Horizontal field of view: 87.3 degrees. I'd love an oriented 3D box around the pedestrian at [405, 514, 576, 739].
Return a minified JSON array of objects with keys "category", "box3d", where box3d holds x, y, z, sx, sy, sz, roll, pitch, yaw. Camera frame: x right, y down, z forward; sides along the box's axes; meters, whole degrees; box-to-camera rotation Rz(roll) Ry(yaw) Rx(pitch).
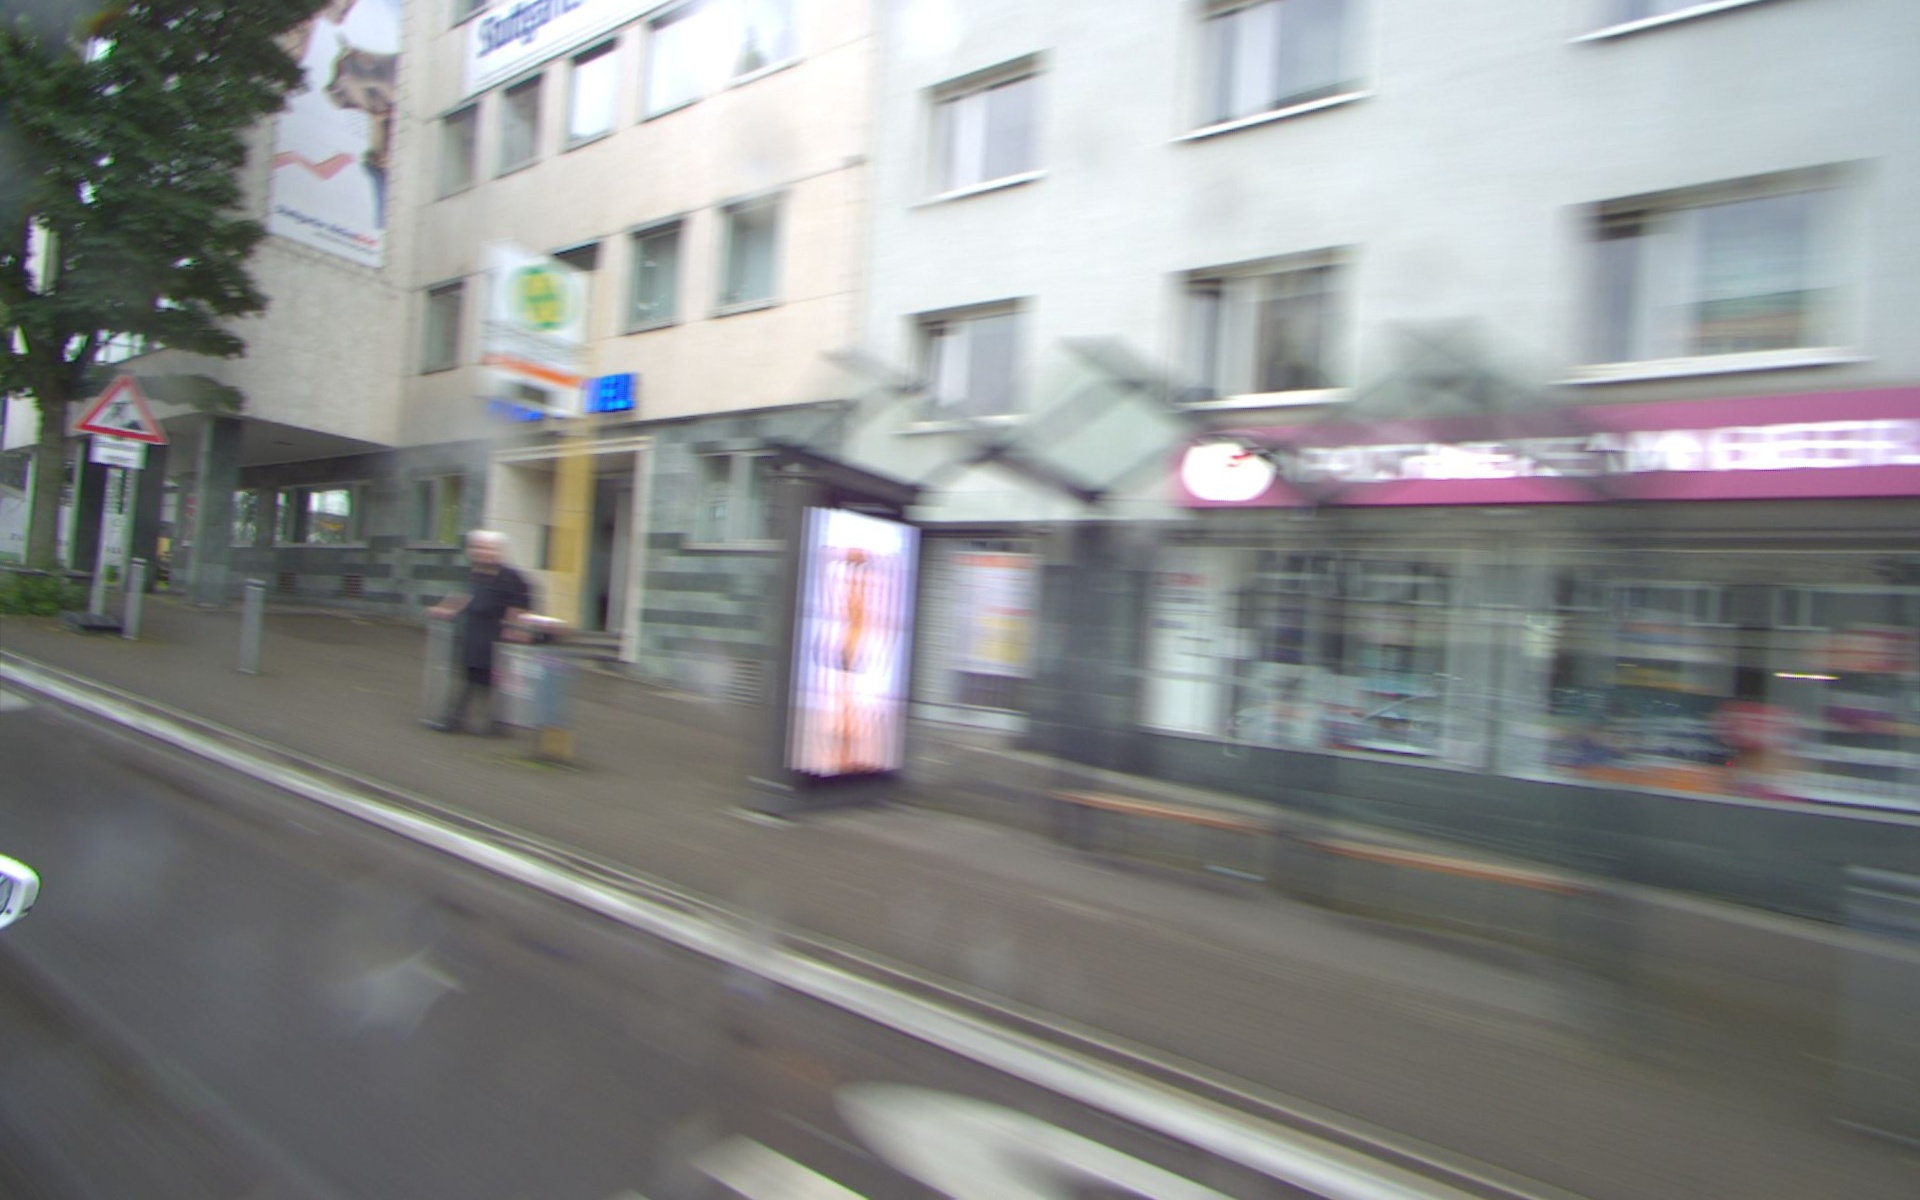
[{"category":"pedestrian","box3d":[-3.752,0.206,8.044,0.952,1.645,0.666,6,-1,31]}]
